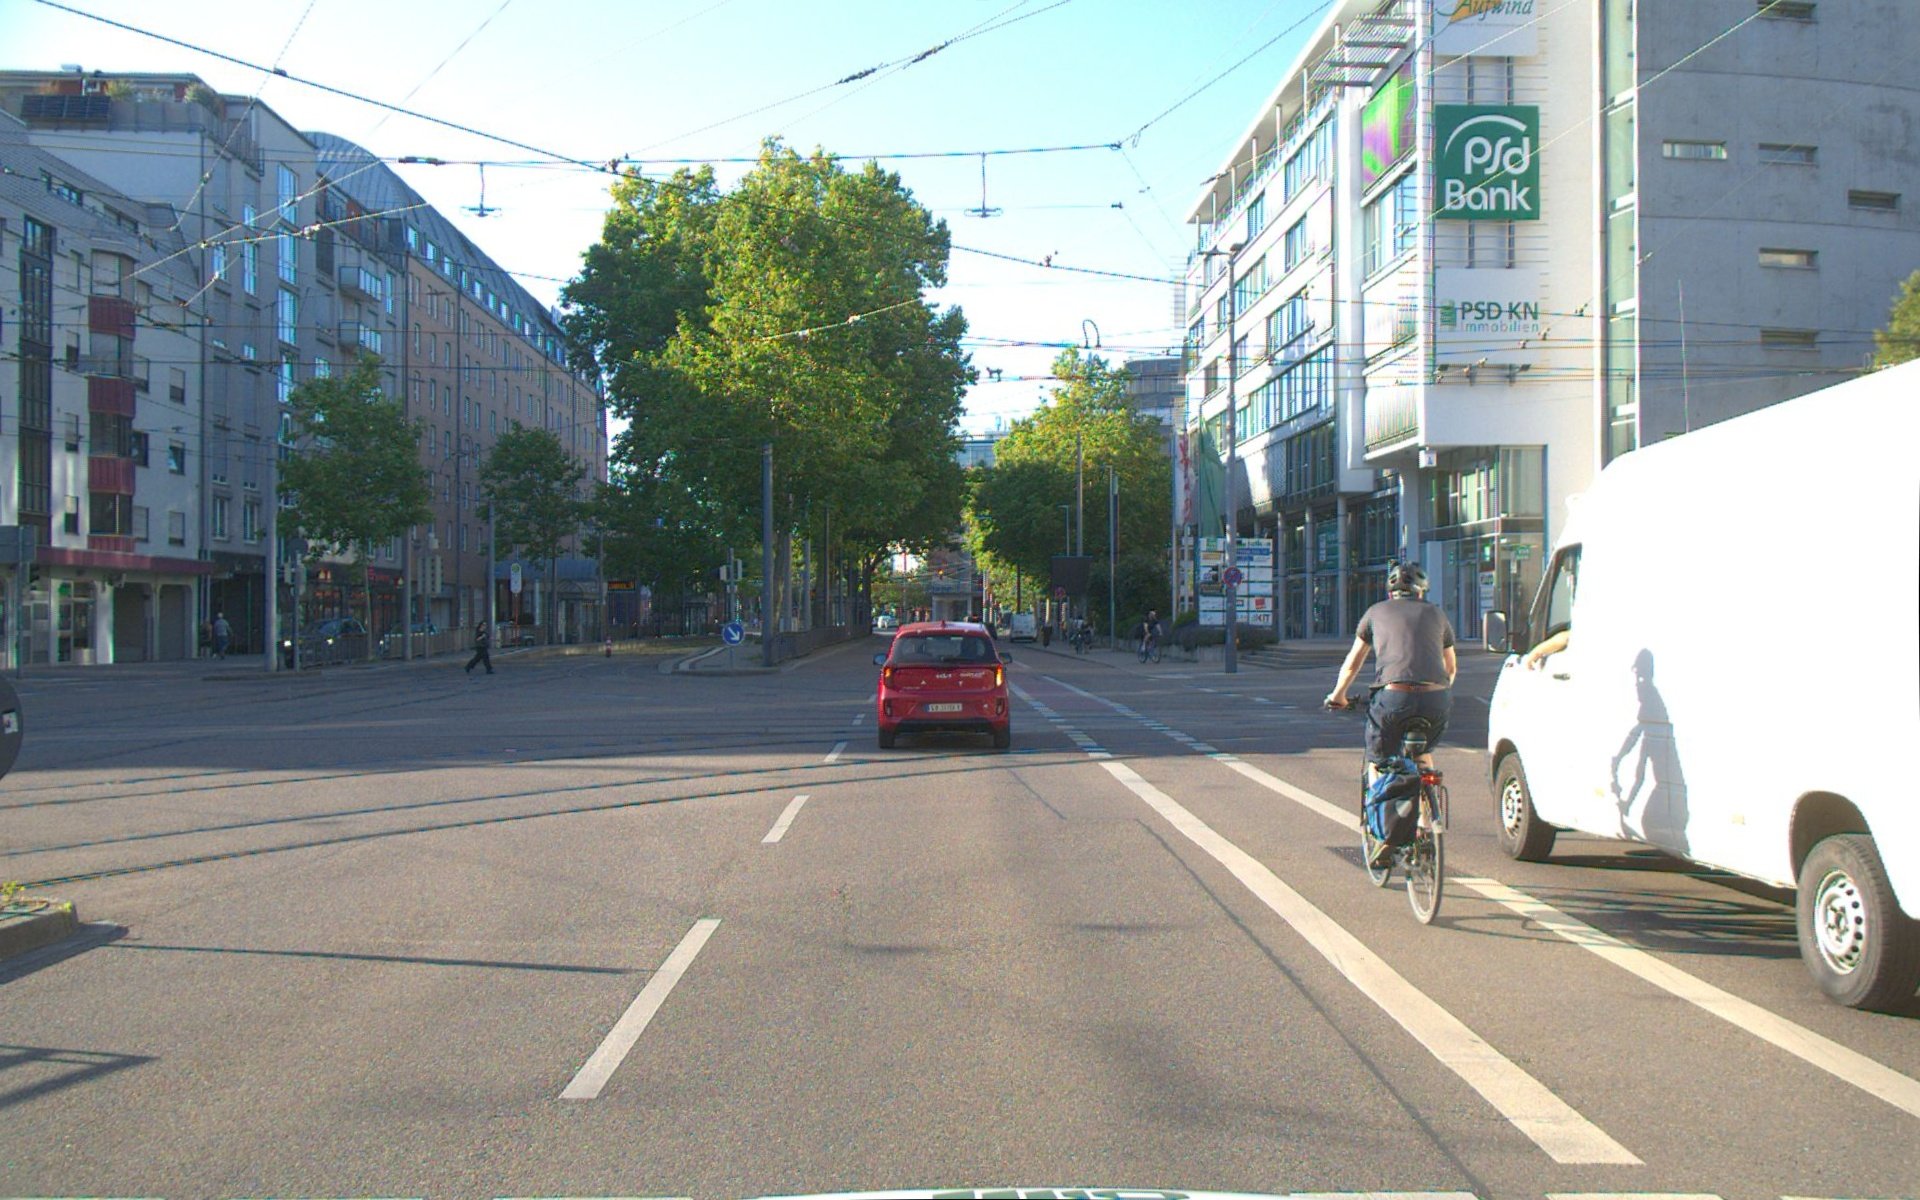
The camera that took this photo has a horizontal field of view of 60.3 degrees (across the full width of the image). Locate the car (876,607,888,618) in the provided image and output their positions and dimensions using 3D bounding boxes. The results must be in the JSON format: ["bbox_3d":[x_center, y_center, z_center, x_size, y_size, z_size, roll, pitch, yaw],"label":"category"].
[{"bbox_3d":[-12.180,1.925,258.260,1.743,1.616,3.407,0,0,-6],"label":"car"}]

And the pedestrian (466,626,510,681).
[{"bbox_3d":[-13.647,1.544,47.842,1.024,1.571,0.695,-1,-1,2],"label":"pedestrian"}]

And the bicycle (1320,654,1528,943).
[{"bbox_3d":[2.402,0.971,8.793,0.636,1.303,1.967,-1,0,3],"label":"bicycle"}]

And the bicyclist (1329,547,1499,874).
[{"bbox_3d":[2.388,0.555,8.807,0.636,1.631,1.089,-1,-1,3],"label":"bicyclist"}]

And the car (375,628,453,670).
[{"bbox_3d":[-22.500,1.986,68.266,1.915,1.623,4.259,-1,0,-2],"label":"car"}]

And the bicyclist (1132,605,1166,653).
[{"bbox_3d":[6.588,1.021,57.676,0.711,1.631,1.083,-3,0,-18],"label":"bicyclist"}]

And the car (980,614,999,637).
[{"bbox_3d":[2.481,2.155,139.770,1.602,1.831,3.330,-1,0,1],"label":"car"}]

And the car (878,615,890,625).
[{"bbox_3d":[-11.612,3.044,252.252,1.743,1.561,3.407,0,0,-6],"label":"car"}]

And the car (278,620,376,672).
[{"bbox_3d":[-22.058,1.581,57.795,1.915,1.702,4.259,-1,0,-2],"label":"car"}]

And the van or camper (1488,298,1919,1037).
[{"bbox_3d":[4.561,0.265,8.141,1.928,2.764,6.304,0,0,0],"label":"van or camper"}]

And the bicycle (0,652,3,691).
[{"bbox_3d":[-25.945,1.883,42.976,1.806,1.002,0.553,-1,-1,-4],"label":"bicycle"}]

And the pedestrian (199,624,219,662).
[{"bbox_3d":[-30.024,1.724,66.113,0.524,1.520,0.587,-1,-1,-5],"label":"pedestrian"}]

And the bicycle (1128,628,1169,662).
[{"bbox_3d":[6.584,1.554,57.747,0.686,1.117,1.741,-4,0,-19],"label":"bicycle"}]

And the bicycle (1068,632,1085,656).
[{"bbox_3d":[5.359,2.013,76.096,0.510,0.991,2.201,-4,0,-1],"label":"bicycle"}]

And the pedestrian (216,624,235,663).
[{"bbox_3d":[-29.421,1.734,66.266,0.524,1.520,0.587,-1,-1,-5],"label":"pedestrian"}]

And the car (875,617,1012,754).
[{"bbox_3d":[-0.227,1.005,20.802,1.580,1.561,3.410,0,0,-1],"label":"car"}]

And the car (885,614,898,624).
[{"bbox_3d":[-10.164,2.796,245.705,1.743,1.561,3.407,0,0,-6],"label":"car"}]

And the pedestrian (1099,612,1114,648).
[{"bbox_3d":[7.655,1.546,86.480,0.530,1.827,0.906,-4,-1,-4],"label":"pedestrian"}]

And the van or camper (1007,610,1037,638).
[{"bbox_3d":[4.498,1.763,121.072,1.953,2.024,4.744,0,-1,0],"label":"van or camper"}]

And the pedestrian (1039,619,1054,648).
[{"bbox_3d":[4.927,1.924,94.171,0.629,1.607,0.722,-4,-1,-6],"label":"pedestrian"}]

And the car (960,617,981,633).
[{"bbox_3d":[1.050,2.445,164.346,1.743,1.561,3.507,0,0,-6],"label":"car"}]

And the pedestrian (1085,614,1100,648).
[{"bbox_3d":[6.959,1.619,86.880,0.553,1.732,0.906,-4,-1,-4],"label":"pedestrian"}]

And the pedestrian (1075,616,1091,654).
[{"bbox_3d":[5.642,1.599,76.018,0.633,1.710,0.651,-1,-1,-3],"label":"pedestrian"}]
